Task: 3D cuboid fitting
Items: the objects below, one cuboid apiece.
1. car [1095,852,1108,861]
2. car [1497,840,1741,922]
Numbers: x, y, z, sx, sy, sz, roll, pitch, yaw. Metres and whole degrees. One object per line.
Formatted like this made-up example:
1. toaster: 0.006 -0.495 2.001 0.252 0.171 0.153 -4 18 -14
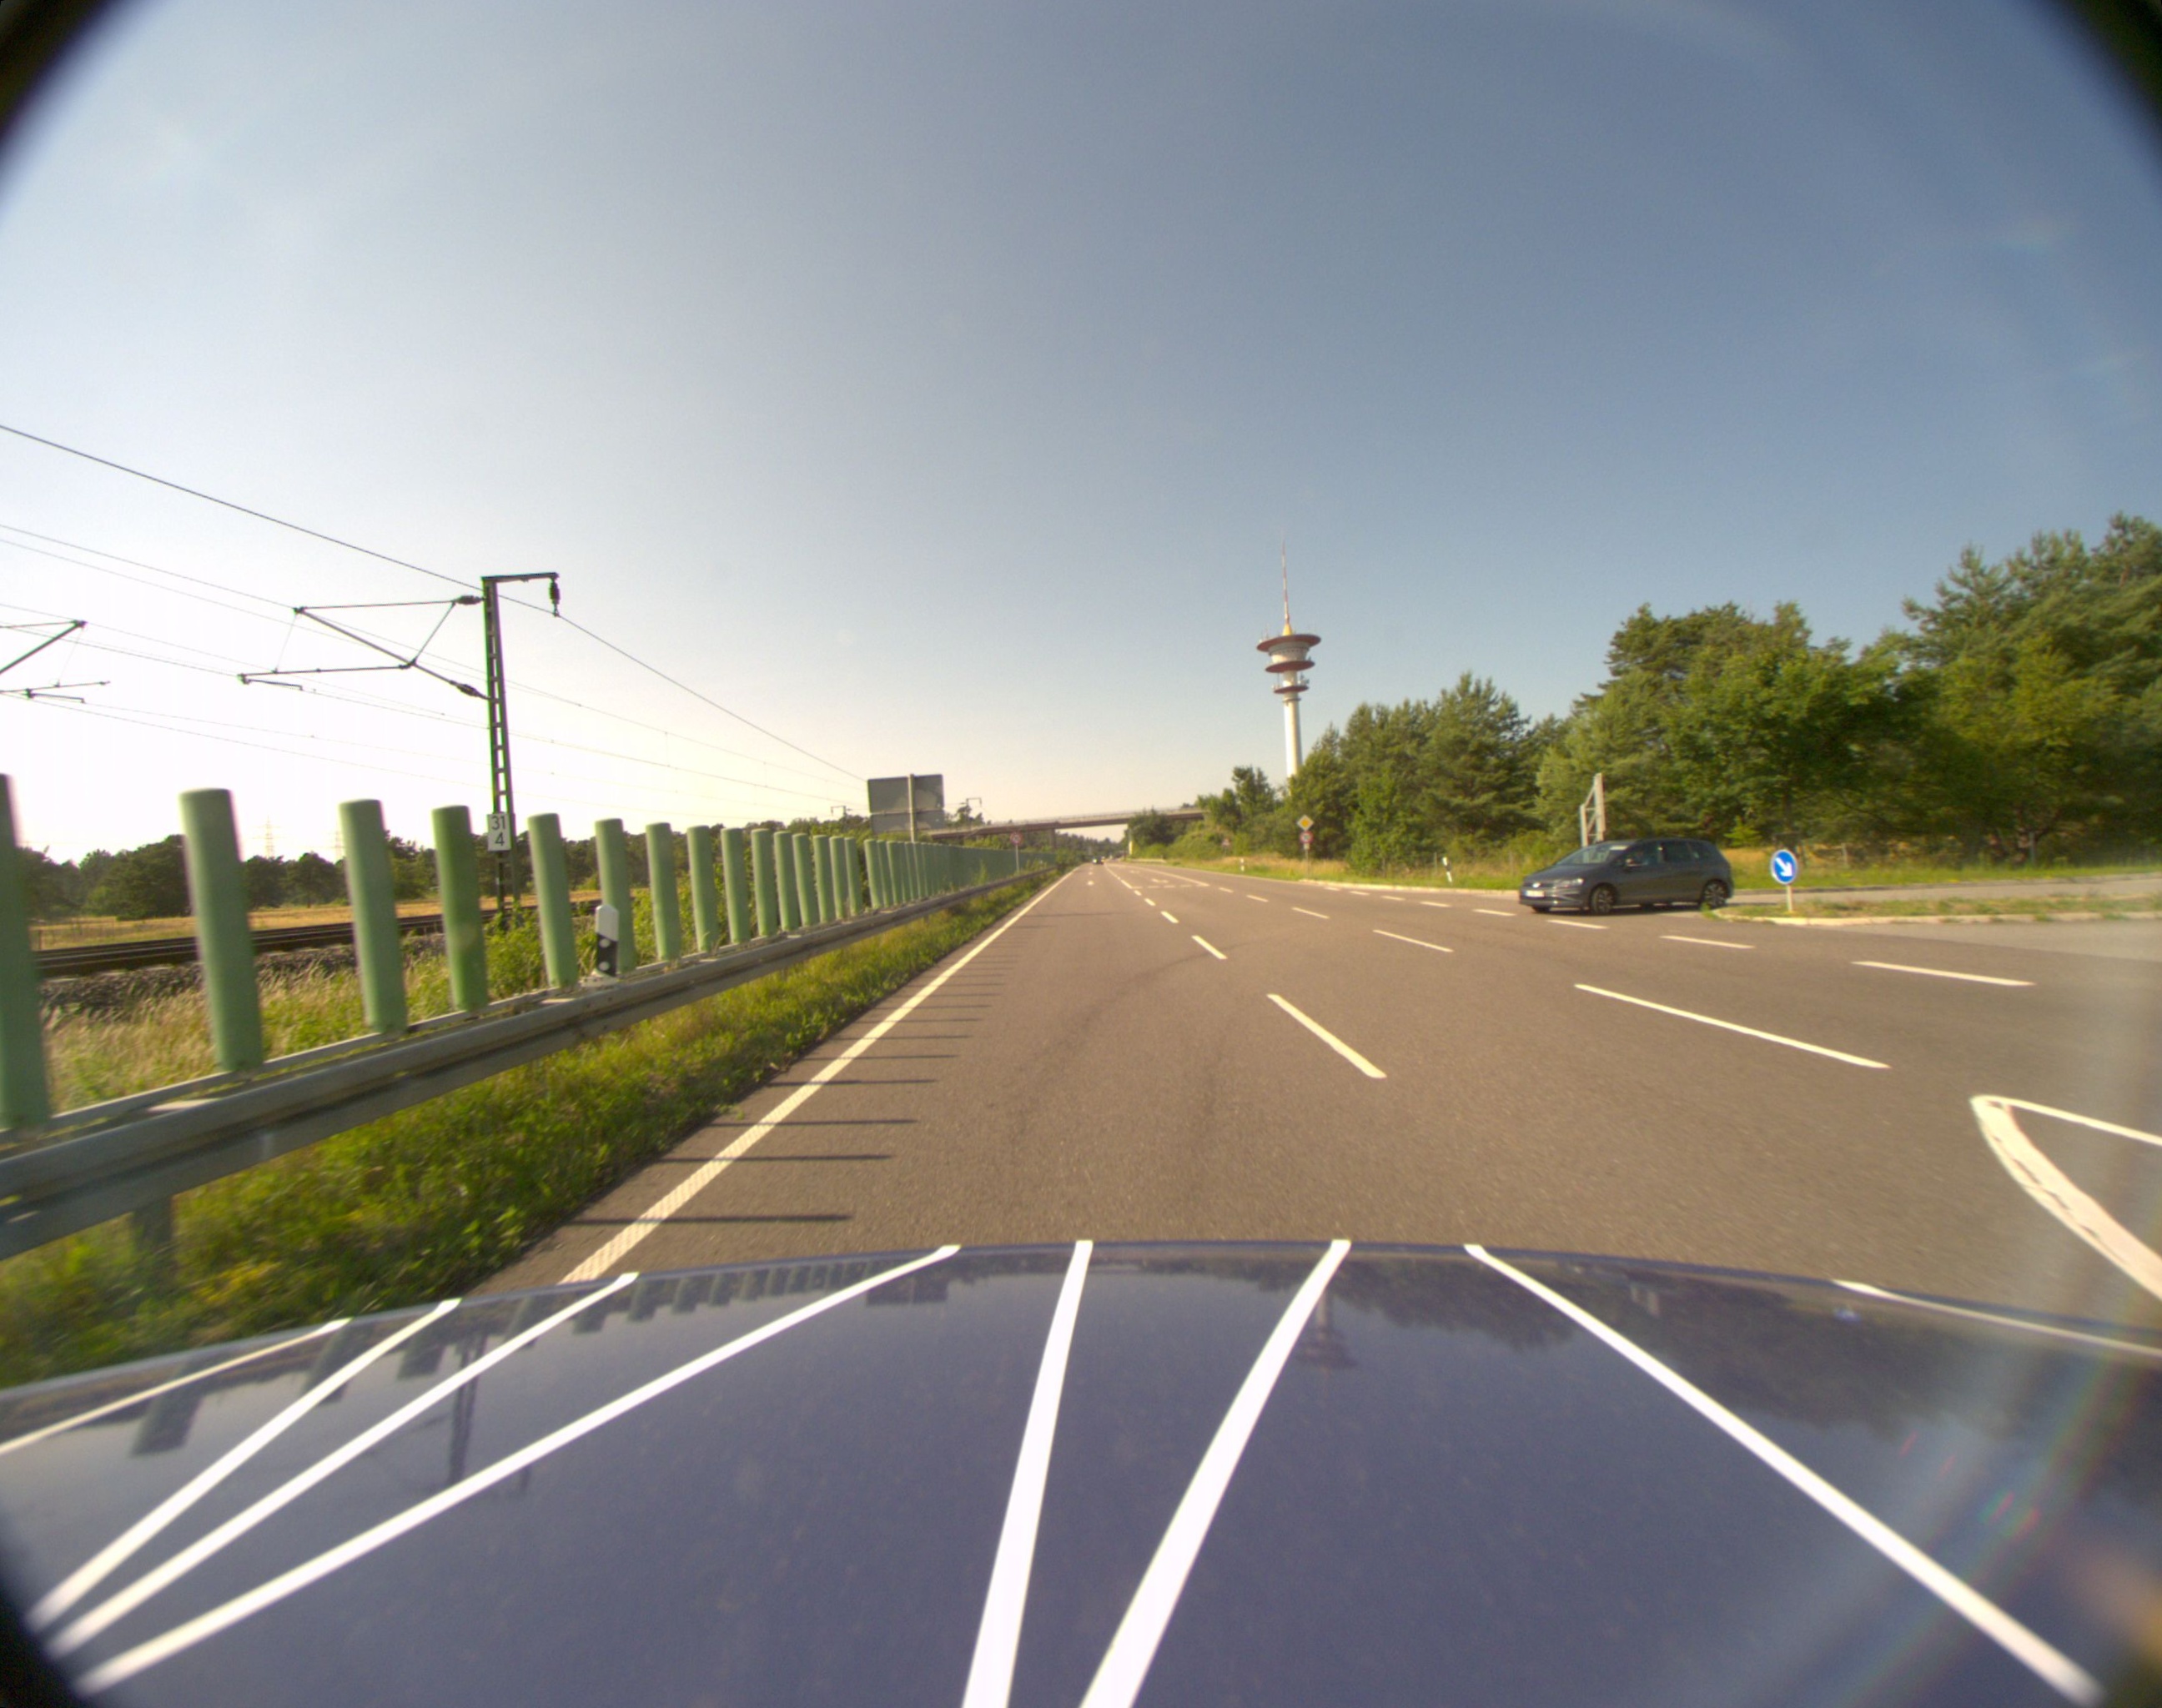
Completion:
1. car: 3.478 0.412 128.982 1.998 1.533 4.332 -1 0 2
2. car: 11.476 0.536 16.367 4.075 1.533 1.869 -1 0 -6
